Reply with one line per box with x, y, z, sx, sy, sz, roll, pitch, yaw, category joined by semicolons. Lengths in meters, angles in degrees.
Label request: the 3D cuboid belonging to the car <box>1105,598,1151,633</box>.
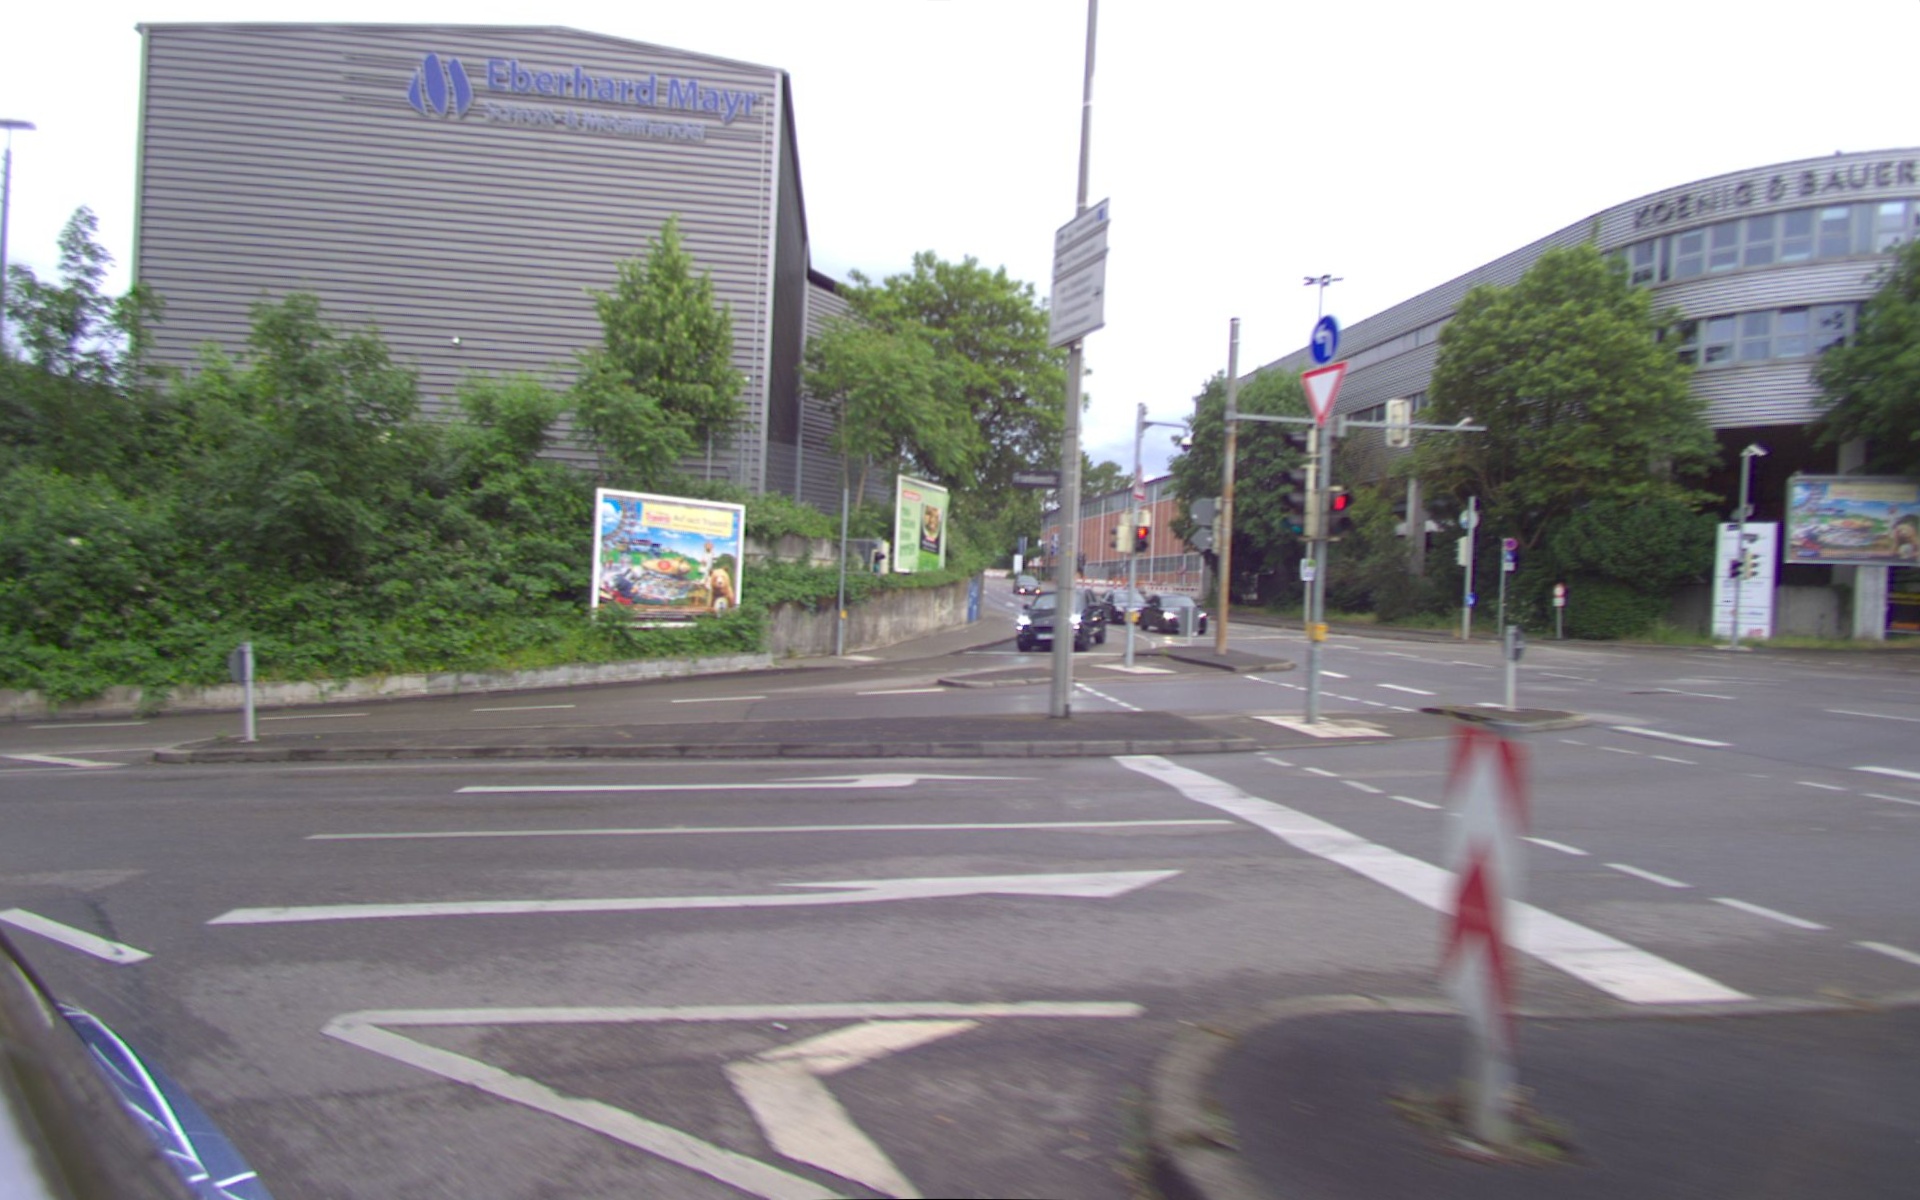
7.290;0.654;44.166;1.732;1.380;3.750;-1;1;6;car

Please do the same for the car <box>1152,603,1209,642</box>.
8.027;0.793;37.061;1.578;1.269;3.750;-1;1;6;car

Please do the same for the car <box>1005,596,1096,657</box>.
2.677;0.711;29.093;1.935;1.555;4.192;-1;1;14;car

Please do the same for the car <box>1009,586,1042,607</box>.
5.171;-0.289;80.278;1.710;1.589;3.717;2;0;-9;car
